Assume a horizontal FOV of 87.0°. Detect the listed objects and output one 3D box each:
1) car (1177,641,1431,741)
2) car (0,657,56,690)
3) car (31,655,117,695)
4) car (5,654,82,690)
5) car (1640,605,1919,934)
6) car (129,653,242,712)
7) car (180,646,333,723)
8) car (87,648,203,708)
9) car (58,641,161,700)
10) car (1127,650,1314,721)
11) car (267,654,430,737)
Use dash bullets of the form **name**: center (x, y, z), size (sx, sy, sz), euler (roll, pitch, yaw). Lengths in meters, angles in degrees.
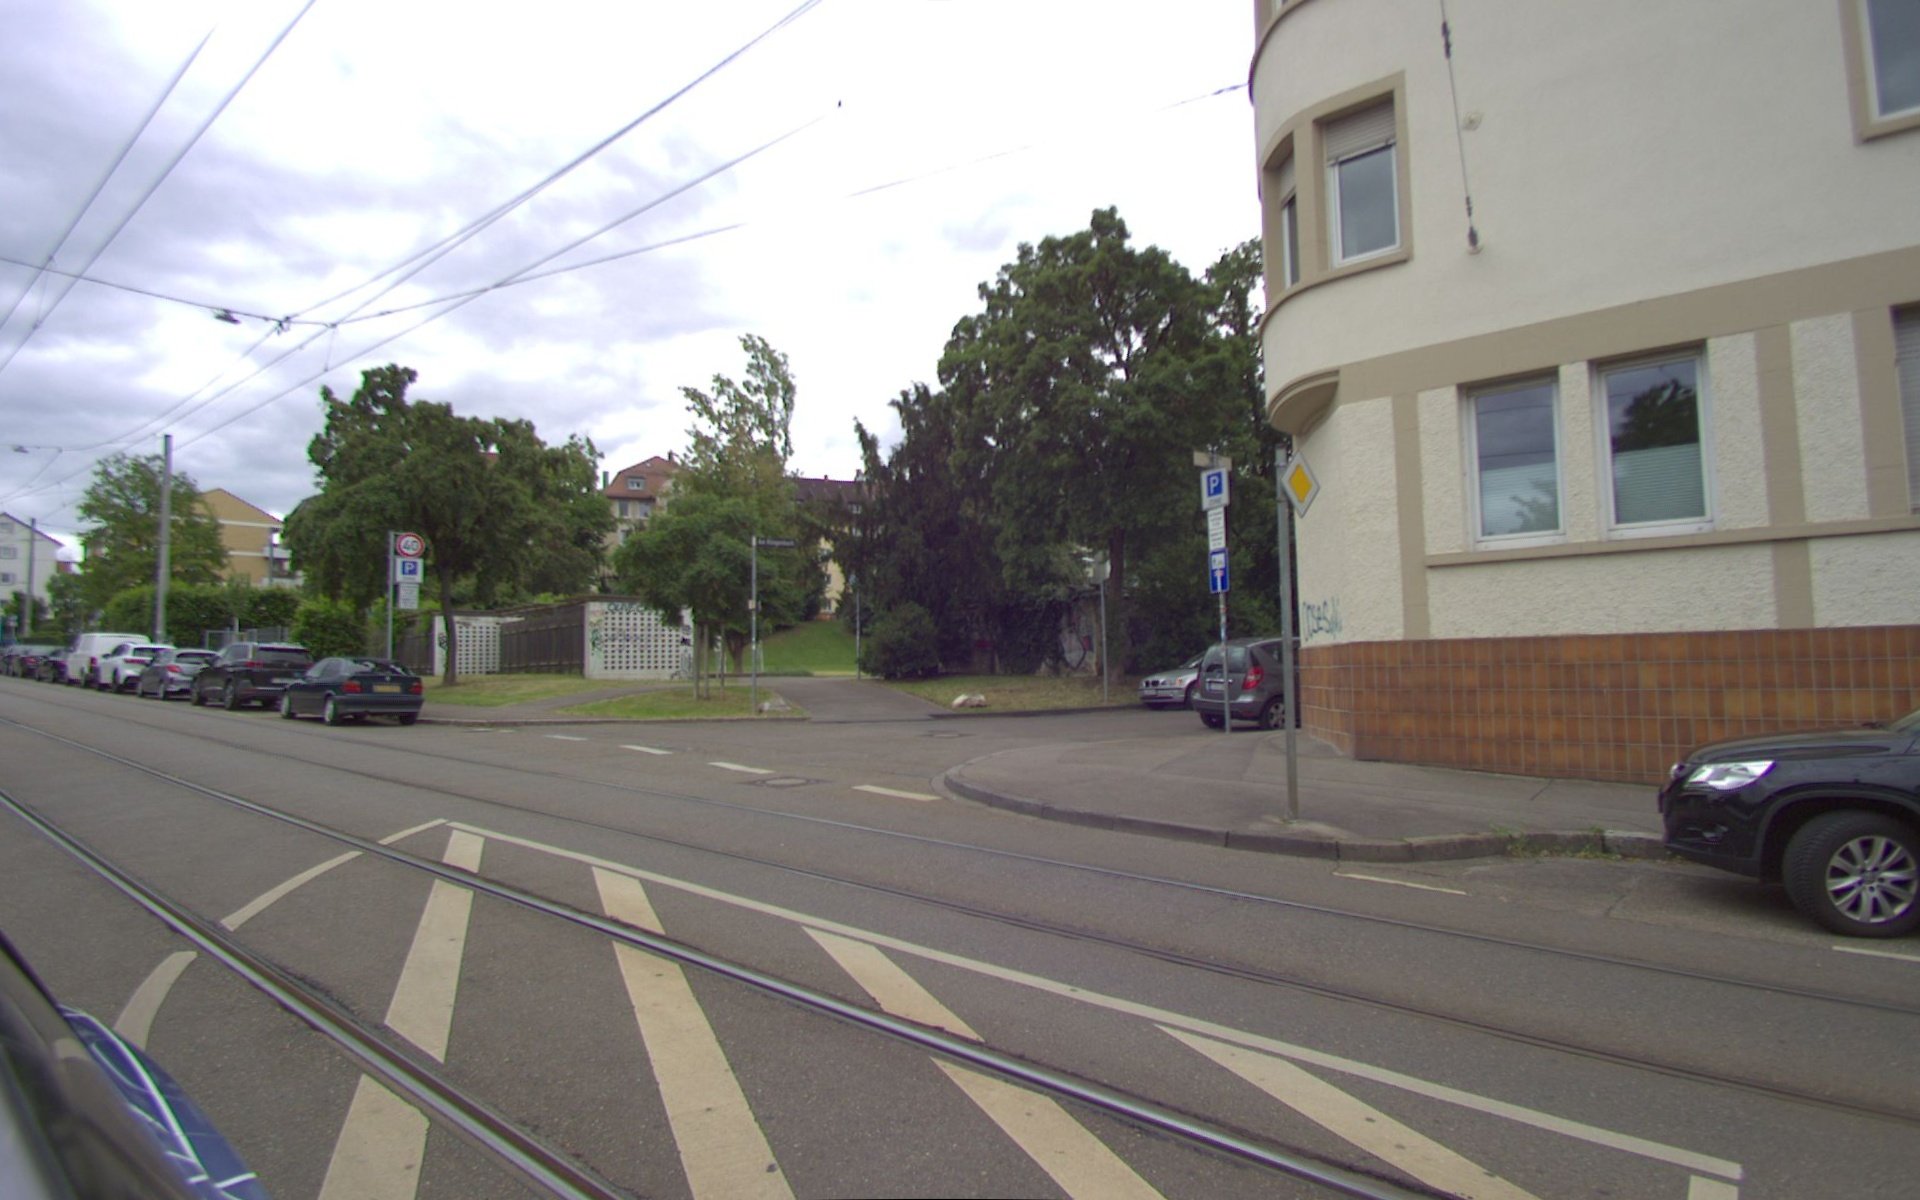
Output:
- **car**: center (5.996, 1.534, 17.676), size (3.930, 1.584, 1.882), euler (2, -3, -24)
- **car**: center (-44.659, 3.477, 48.129), size (4.157, 1.415, 1.772), euler (-1, -4, 39)
- **car**: center (-35.464, 2.972, 40.474), size (4.513, 1.398, 1.821), euler (-1, -4, 39)
- **car**: center (-40.411, 3.152, 44.606), size (4.435, 1.398, 1.821), euler (-1, -4, 39)
- **car**: center (6.230, 0.901, 5.209), size (4.397, 1.658, 1.849), euler (-1, -4, 39)
- **car**: center (-22.642, 2.365, 29.549), size (3.865, 1.520, 1.721), euler (-1, -4, 39)
- **car**: center (-17.894, 2.089, 25.674), size (4.439, 1.699, 1.949), euler (-1, -4, 39)
- **car**: center (-26.761, 2.513, 33.179), size (4.628, 1.699, 1.949), euler (-1, -4, 39)
- **car**: center (-31.174, 2.545, 37.057), size (4.730, 1.927, 1.949), euler (-1, -4, 39)
- **car**: center (6.097, 1.954, 23.726), size (3.930, 1.451, 1.766), euler (0, -3, -24)
- **car**: center (-12.993, 1.951, 21.414), size (4.152, 1.489, 1.605), euler (-1, -4, 39)
